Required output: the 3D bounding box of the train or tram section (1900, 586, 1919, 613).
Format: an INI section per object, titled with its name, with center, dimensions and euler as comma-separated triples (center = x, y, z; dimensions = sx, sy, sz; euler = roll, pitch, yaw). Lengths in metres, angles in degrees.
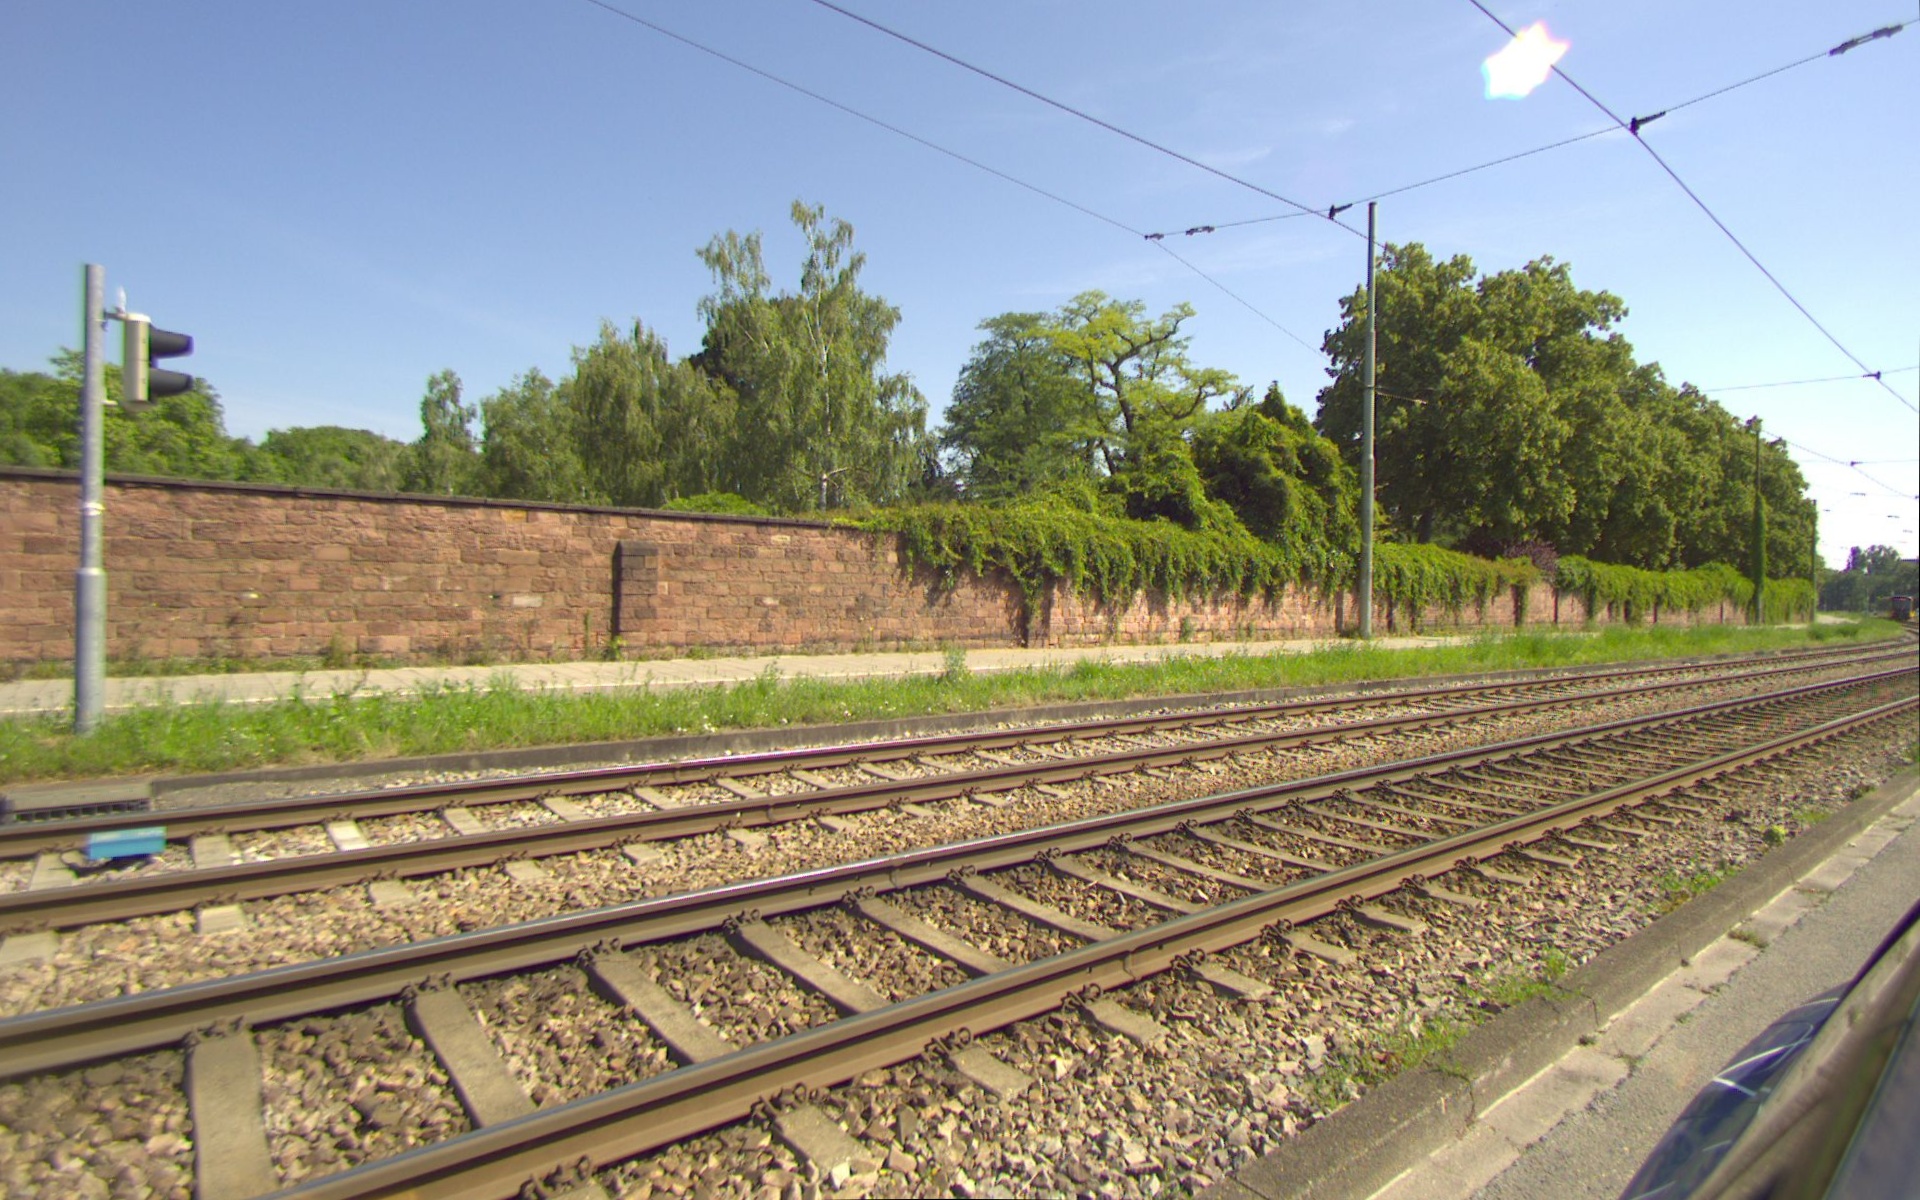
[train or tram section]
center = 137.123, -0.043, 145.368
dimensions = 2.714, 3.785, 18.576
euler = 0, 0, 44
